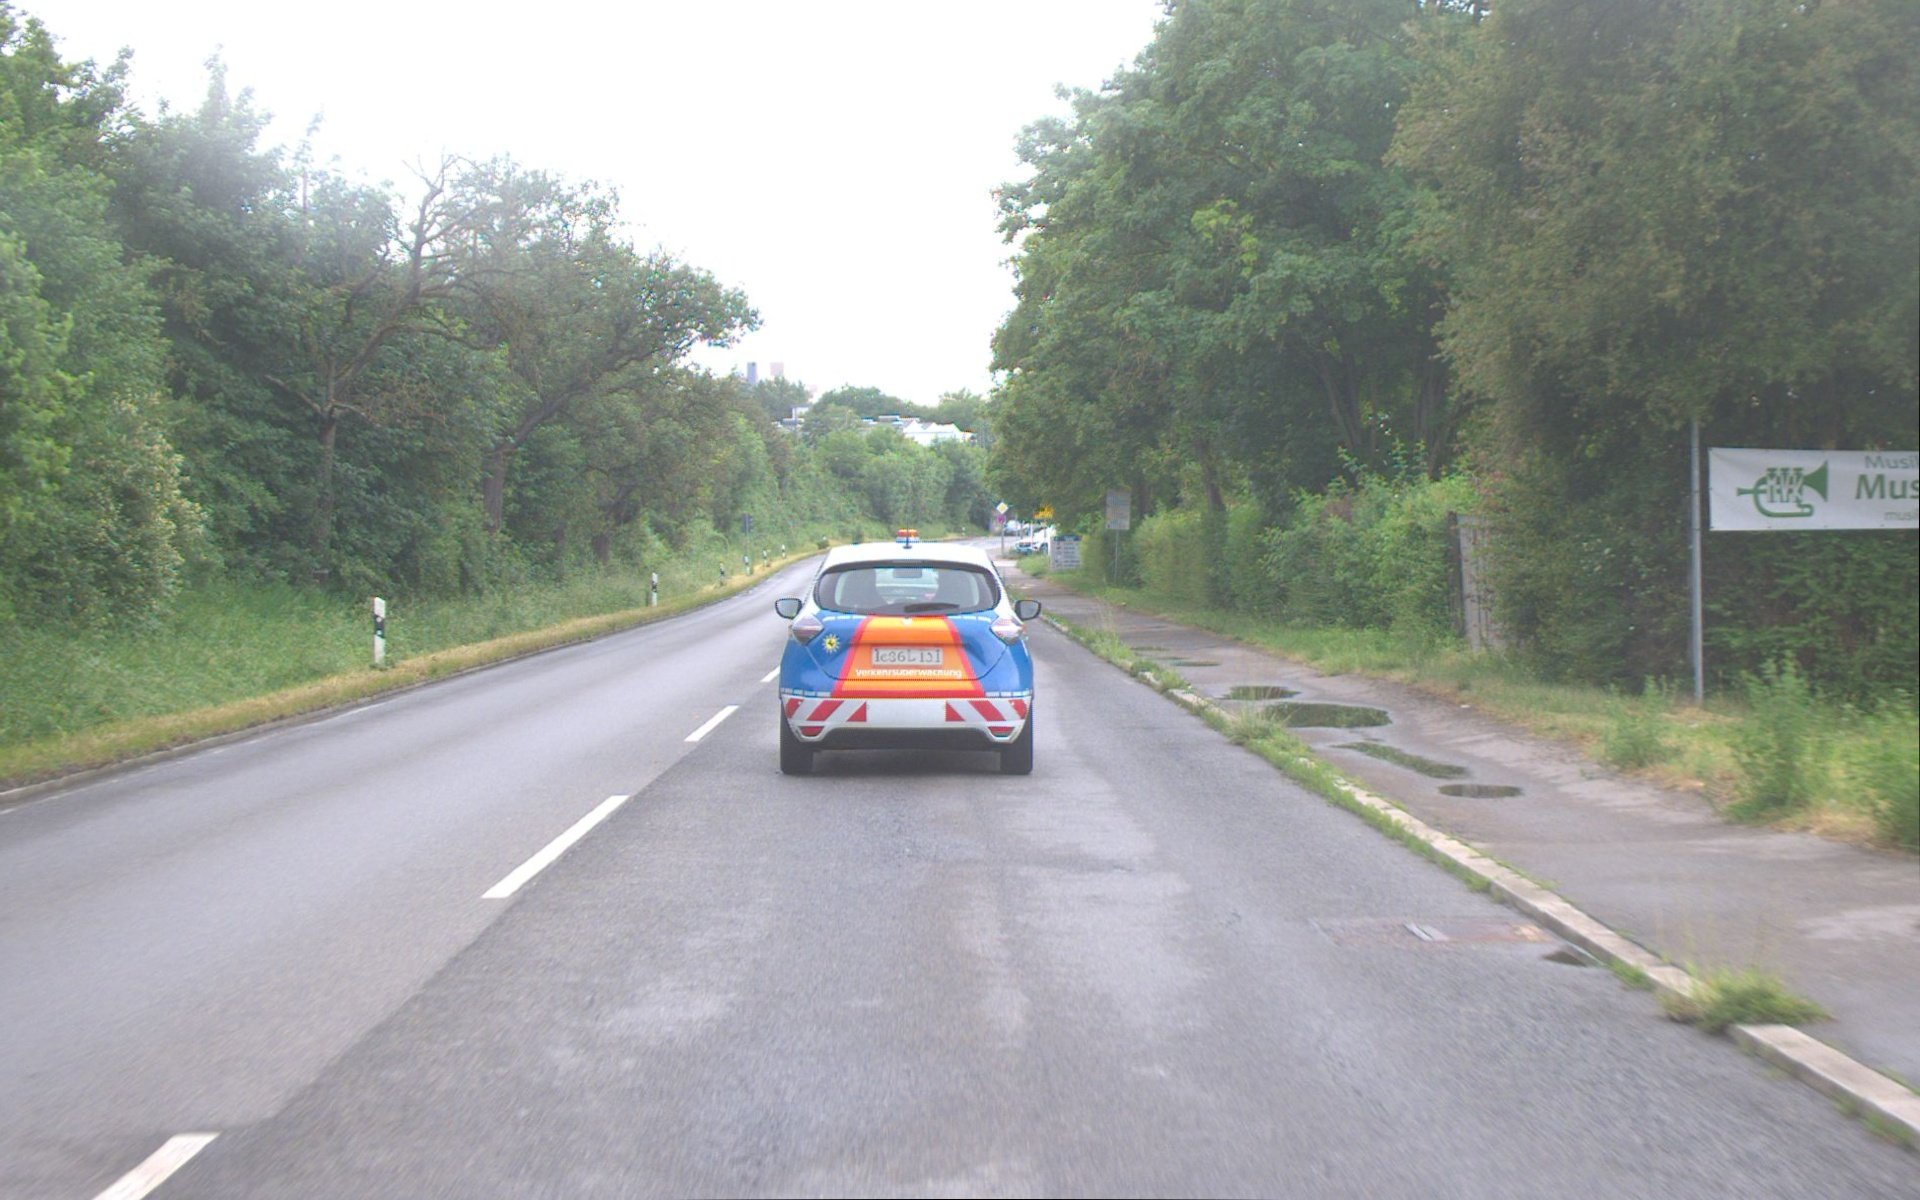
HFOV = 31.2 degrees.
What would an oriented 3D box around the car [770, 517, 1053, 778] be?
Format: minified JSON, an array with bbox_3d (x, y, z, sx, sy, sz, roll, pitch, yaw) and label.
[{"bbox_3d":[-0.342,0.284,24.256,1.806,1.662,3.856,1,1,-1],"label":"car"}]

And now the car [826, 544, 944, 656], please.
[{"bbox_3d":[-1.122,-0.023,51.935,1.694,1.590,3.856,1,1,-1],"label":"car"}]
